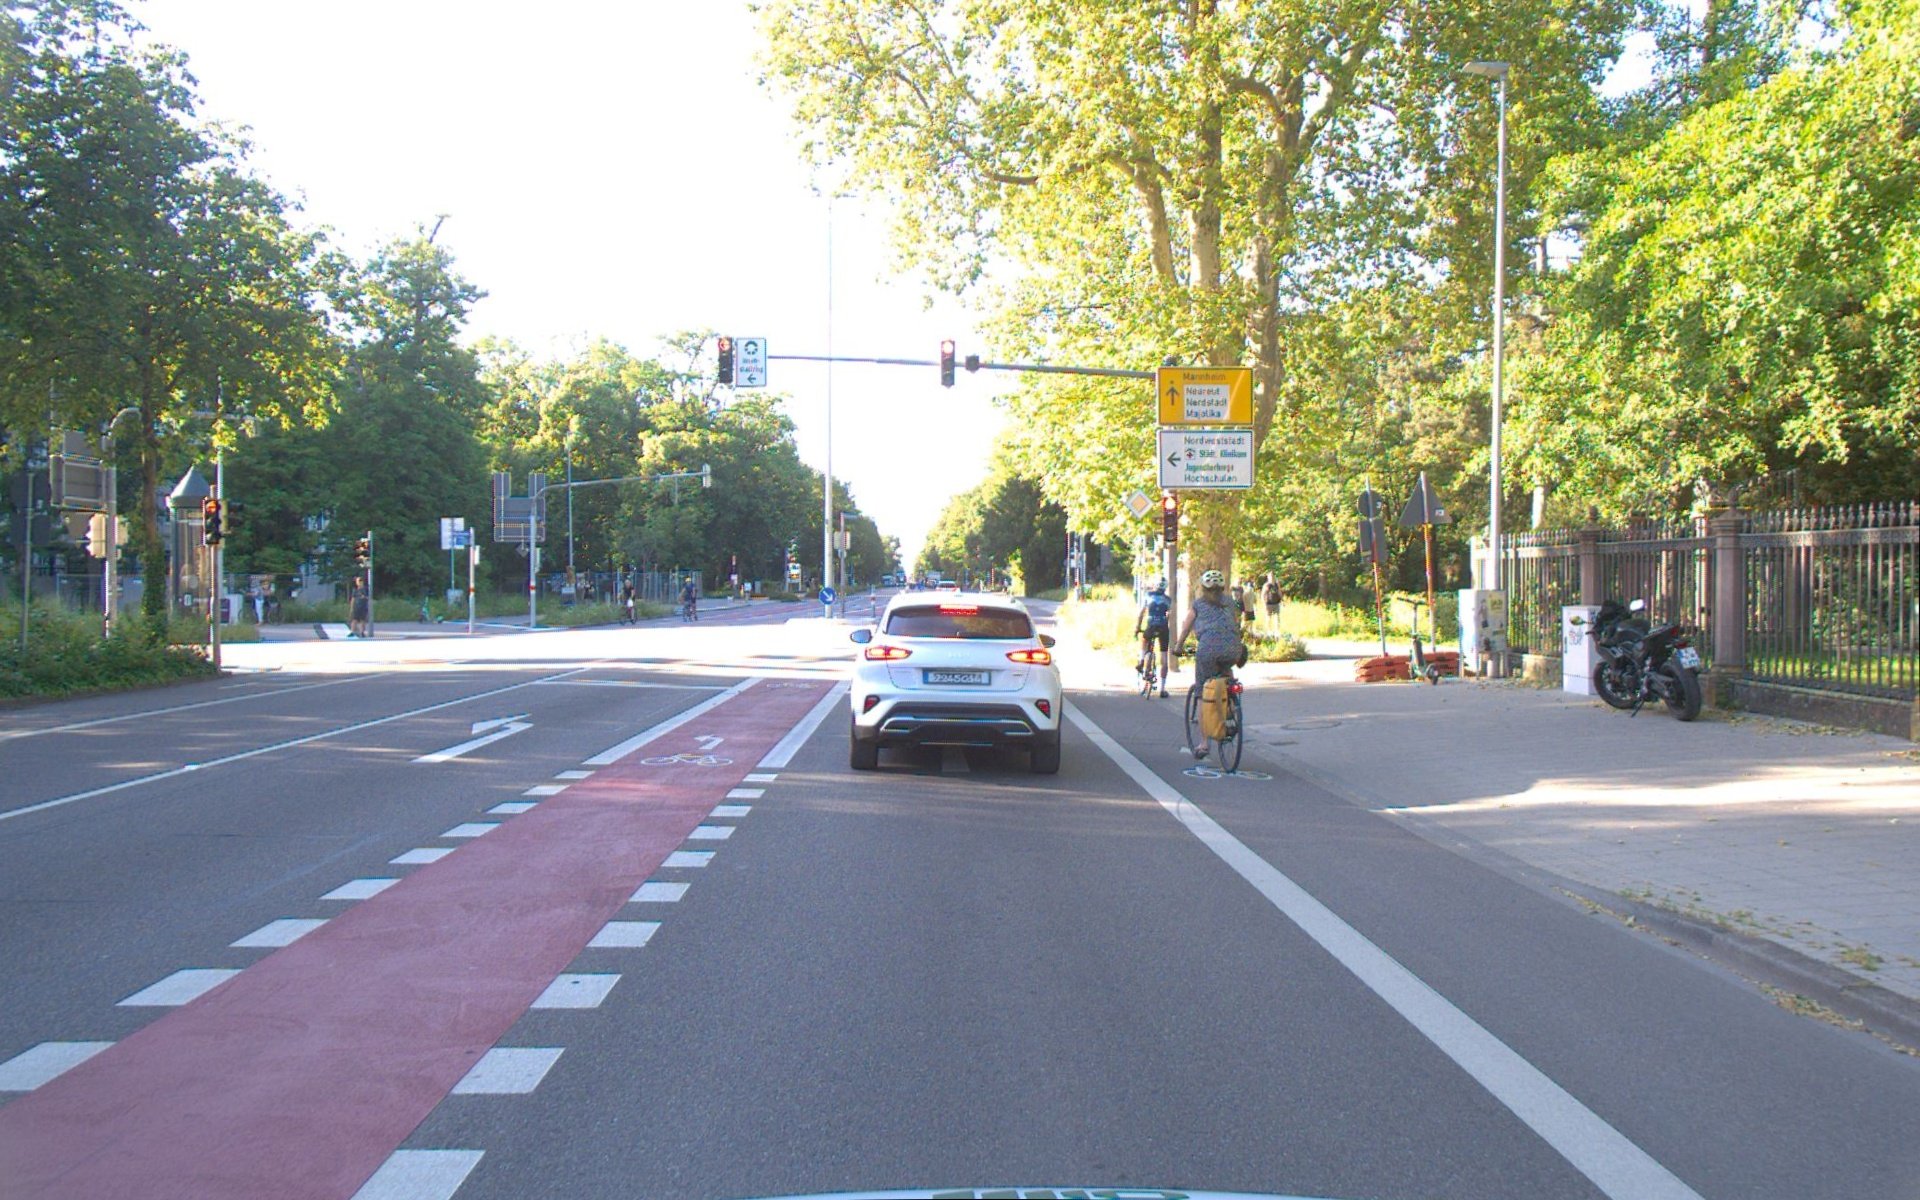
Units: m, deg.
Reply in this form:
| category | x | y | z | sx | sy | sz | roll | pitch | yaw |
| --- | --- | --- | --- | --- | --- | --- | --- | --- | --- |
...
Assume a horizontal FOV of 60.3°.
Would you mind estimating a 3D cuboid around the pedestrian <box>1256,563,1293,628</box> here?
| category | x | y | z | sx | sy | sz | roll | pitch | yaw |
| --- | --- | --- | --- | --- | --- | --- | --- | --- | --- |
| pedestrian | 8.814 | -0.135 | 46.405 | 0.802 | 1.802 | 0.831 | -1 | 0 | -7 |

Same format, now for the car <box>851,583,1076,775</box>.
| category | x | y | z | sx | sy | sz | roll | pitch | yaw |
| --- | --- | --- | --- | --- | --- | --- | --- | --- | --- |
| car | -0.026 | 0.611 | 15.153 | 1.784 | 1.506 | 3.935 | 0 | 1 | -2 |

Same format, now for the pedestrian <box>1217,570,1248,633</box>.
| category | x | y | z | sx | sy | sz | roll | pitch | yaw |
| --- | --- | --- | --- | --- | --- | --- | --- | --- | --- |
| pedestrian | 7.529 | 0.030 | 45.756 | 0.676 | 1.729 | 0.643 | -1 | 0 | -7 |

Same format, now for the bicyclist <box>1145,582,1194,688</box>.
| category | x | y | z | sx | sy | sz | roll | pitch | yaw |
| --- | --- | --- | --- | --- | --- | --- | --- | --- | --- |
| bicyclist | 3.068 | 0.509 | 24.312 | 0.543 | 1.504 | 0.716 | -3 | 0 | -2 |

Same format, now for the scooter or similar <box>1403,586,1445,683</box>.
| category | x | y | z | sx | sy | sz | roll | pitch | yaw |
| --- | --- | --- | --- | --- | --- | --- | --- | --- | --- |
| scooter or similar | 6.647 | 0.472 | 23.711 | 0.223 | 1.350 | 1.172 | -1 | 1 | -2 |

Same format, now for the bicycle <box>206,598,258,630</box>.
| category | x | y | z | sx | sy | sz | roll | pitch | yaw |
| --- | --- | --- | --- | --- | --- | --- | --- | --- | --- |
| bicycle | -27.260 | 0.519 | 61.931 | 1.822 | 1.168 | 0.443 | 1 | 0 | 12 |

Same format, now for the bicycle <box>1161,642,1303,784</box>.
| category | x | y | z | sx | sy | sz | roll | pitch | yaw |
| --- | --- | --- | --- | --- | --- | --- | --- | --- | --- |
| bicycle | 2.356 | 0.945 | 14.645 | 0.742 | 1.030 | 2.569 | 2 | 1 | -2 |

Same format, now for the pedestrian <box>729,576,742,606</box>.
| category | x | y | z | sx | sy | sz | roll | pitch | yaw |
| --- | --- | --- | --- | --- | --- | --- | --- | --- | --- |
| pedestrian | -15.296 | -0.636 | 112.854 | 0.627 | 2.049 | 0.754 | 1 | 0 | 10 |

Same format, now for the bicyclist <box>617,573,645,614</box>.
| category | x | y | z | sx | sy | sz | roll | pitch | yaw |
| --- | --- | --- | --- | --- | --- | --- | --- | --- | --- |
| bicyclist | -13.385 | -0.257 | 67.320 | 0.857 | 1.634 | 0.978 | -1 | 0 | 3 |

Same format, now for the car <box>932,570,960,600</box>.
| category | x | y | z | sx | sy | sz | roll | pitch | yaw |
| --- | --- | --- | --- | --- | --- | --- | --- | --- | --- |
| car | -0.993 | -1.094 | 118.652 | 1.953 | 2.049 | 4.000 | -1 | 1 | 0 |

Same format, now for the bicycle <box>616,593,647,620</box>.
| category | x | y | z | sx | sy | sz | roll | pitch | yaw |
| --- | --- | --- | --- | --- | --- | --- | --- | --- | --- |
| bicycle | -13.380 | 0.255 | 67.344 | 0.567 | 1.006 | 2.716 | -1 | 1 | 3 |

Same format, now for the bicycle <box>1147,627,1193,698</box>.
| category | x | y | z | sx | sy | sz | roll | pitch | yaw |
| --- | --- | --- | --- | --- | --- | --- | --- | --- | --- |
| bicycle | 3.085 | 0.906 | 24.377 | 0.393 | 0.973 | 1.550 | -3 | 0 | -2 |

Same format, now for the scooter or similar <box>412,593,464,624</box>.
| category | x | y | z | sx | sy | sz | roll | pitch | yaw |
| --- | --- | --- | --- | --- | --- | --- | --- | --- | --- |
| scooter or similar | -20.106 | 0.336 | 63.785 | 0.698 | 1.144 | 1.916 | 1 | 0 | 32 |

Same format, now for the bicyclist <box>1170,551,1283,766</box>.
| category | x | y | z | sx | sy | sz | roll | pitch | yaw |
| --- | --- | --- | --- | --- | --- | --- | --- | --- | --- |
| bicyclist | 2.361 | 0.495 | 14.757 | 0.738 | 1.827 | 1.165 | 2 | 0 | -2 |

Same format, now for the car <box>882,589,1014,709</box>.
| category | x | y | z | sx | sy | sz | roll | pitch | yaw |
| --- | --- | --- | --- | --- | --- | --- | --- | --- | --- |
| car | -0.208 | 0.618 | 23.156 | 1.693 | 1.509 | 3.516 | -1 | 1 | -2 |

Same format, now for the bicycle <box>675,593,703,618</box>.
| category | x | y | z | sx | sy | sz | roll | pitch | yaw |
| --- | --- | --- | --- | --- | --- | --- | --- | --- | --- |
| bicycle | -11.232 | 0.216 | 68.507 | 0.650 | 1.006 | 2.505 | -1 | 1 | 2 |

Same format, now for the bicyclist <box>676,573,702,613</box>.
| category | x | y | z | sx | sy | sz | roll | pitch | yaw |
| --- | --- | --- | --- | --- | --- | --- | --- | --- | --- |
| bicyclist | -11.235 | -0.287 | 68.580 | 0.857 | 1.636 | 1.188 | -1 | 1 | 2 |

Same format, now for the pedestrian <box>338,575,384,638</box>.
| category | x | y | z | sx | sy | sz | roll | pitch | yaw |
| --- | --- | --- | --- | --- | --- | --- | --- | --- | --- |
| pedestrian | -19.902 | 0.206 | 54.977 | 0.974 | 2.049 | 1.192 | 1 | 0 | 5 |

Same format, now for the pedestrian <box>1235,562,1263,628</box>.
| category | x | y | z | sx | sy | sz | roll | pitch | yaw |
| --- | --- | --- | --- | --- | --- | --- | --- | --- | --- |
| pedestrian | 8.041 | -0.144 | 46.015 | 0.604 | 1.802 | 0.646 | -1 | 0 | -7 |

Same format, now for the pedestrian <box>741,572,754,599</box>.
| category | x | y | z | sx | sy | sz | roll | pitch | yaw |
| --- | --- | --- | --- | --- | --- | --- | --- | --- | --- |
| pedestrian | -14.617 | -0.983 | 113.677 | 0.768 | 1.816 | 0.751 | 1 | 0 | 0 |

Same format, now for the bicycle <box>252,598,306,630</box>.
| category | x | y | z | sx | sy | sz | roll | pitch | yaw |
| --- | --- | --- | --- | --- | --- | --- | --- | --- | --- |
| bicycle | -25.424 | 0.529 | 61.754 | 1.826 | 1.168 | 0.290 | 1 | 0 | -7 |

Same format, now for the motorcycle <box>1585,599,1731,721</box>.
| category | x | y | z | sx | sy | sz | roll | pitch | yaw |
| --- | --- | --- | --- | --- | --- | --- | --- | --- | --- |
| motorcycle | 7.124 | 0.580 | 16.997 | 0.495 | 1.151 | 2.170 | -2 | 0 | -2 |
